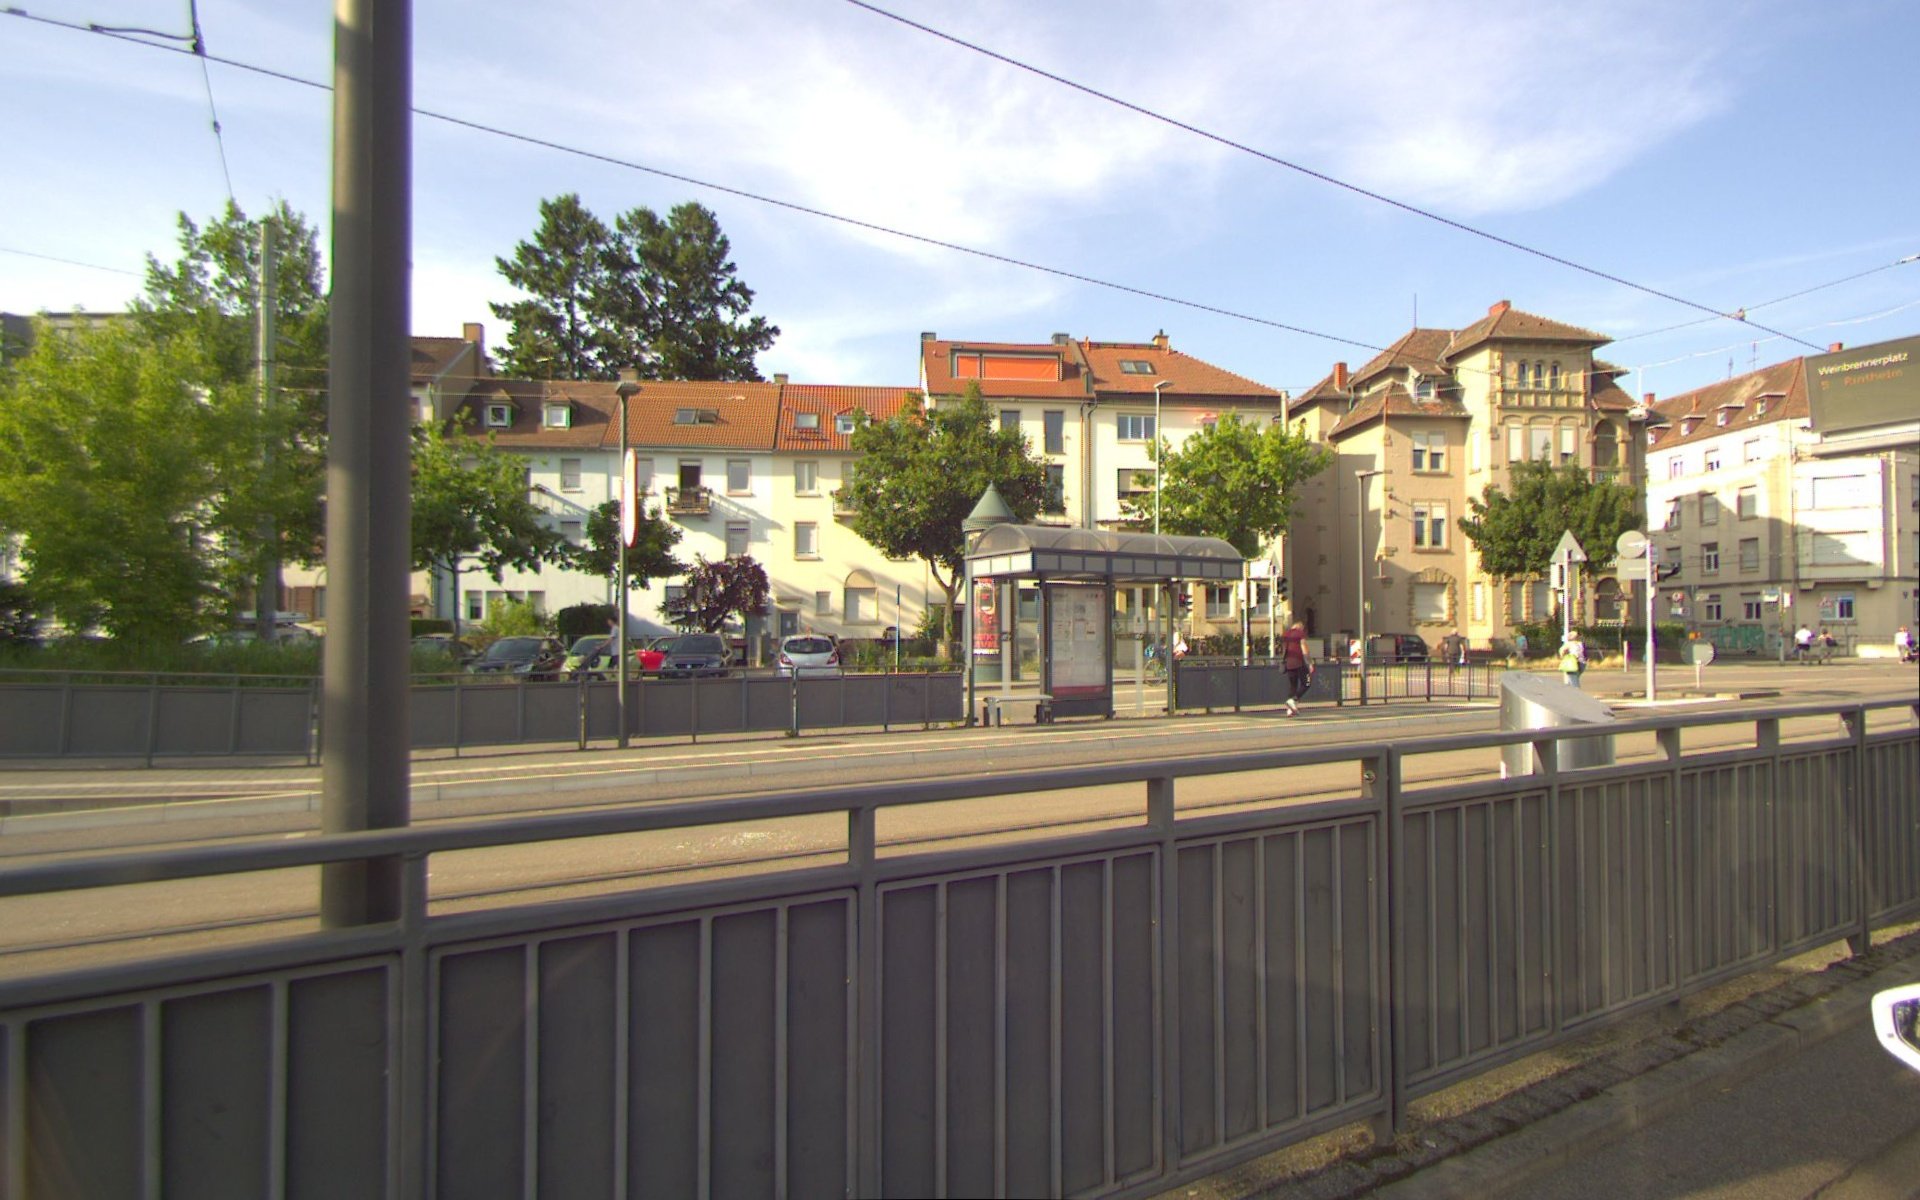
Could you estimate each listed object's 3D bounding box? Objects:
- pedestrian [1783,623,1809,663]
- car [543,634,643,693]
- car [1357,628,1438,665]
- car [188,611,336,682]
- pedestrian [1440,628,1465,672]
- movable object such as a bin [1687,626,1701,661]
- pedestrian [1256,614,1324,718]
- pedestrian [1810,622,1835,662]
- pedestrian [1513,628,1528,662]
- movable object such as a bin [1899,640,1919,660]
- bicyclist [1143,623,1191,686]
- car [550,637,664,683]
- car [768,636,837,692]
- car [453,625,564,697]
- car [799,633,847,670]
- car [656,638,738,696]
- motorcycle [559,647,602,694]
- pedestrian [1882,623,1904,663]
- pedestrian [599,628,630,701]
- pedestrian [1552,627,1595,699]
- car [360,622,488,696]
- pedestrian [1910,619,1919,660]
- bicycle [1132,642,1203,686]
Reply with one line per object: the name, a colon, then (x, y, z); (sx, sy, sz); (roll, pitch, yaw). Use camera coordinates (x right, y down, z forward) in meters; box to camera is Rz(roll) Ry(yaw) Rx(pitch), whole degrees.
pedestrian: (40.111, 2.039, 48.195); (0.616, 1.905, 0.659); (0, -2, -15)
car: (-9.730, 1.644, 26.937); (1.740, 1.447, 3.995); (0, -2, -9)
car: (20.437, 2.145, 47.109); (1.742, 1.653, 3.998); (0, -2, -5)
car: (-18.963, 1.253, 27.528); (1.822, 1.777, 3.993); (0, -2, -11)
pedestrian: (19.036, 1.920, 38.850); (0.592, 1.673, 0.681); (0, -1, -3)
movable object such as a bin: (36.876, 2.174, 50.470); (0.259, 1.732, 2.379); (-1, -2, 29)
pedestrian: (5.541, 1.092, 16.867); (0.874, 1.692, 0.666); (1, -2, -33)
pedestrian: (40.508, 1.981, 47.180); (0.642, 1.872, 0.670); (1, -2, -32)
pedestrian: (24.955, 2.005, 44.740); (0.382, 1.535, 0.405); (0, -2, -3)
movable object such as a bin: (46.449, 2.436, 49.161); (0.655, 0.959, 0.580); (1, -2, -31)
bicyclist: (5.598, 1.448, 27.193); (1.059, 1.646, 0.701); (0, 1, -30)
car: (-12.184, 2.064, 34.864); (3.444, 1.544, 1.567); (0, -2, -7)
car: (-4.372, 1.728, 27.973); (1.740, 1.447, 3.995); (0, -2, -9)
car: (-11.973, 1.584, 26.909); (1.822, 1.777, 3.993); (0, -2, -11)
car: (-6.006, 2.250, 44.365); (1.821, 1.578, 3.998); (0, -2, -4)
car: (-7.068, 1.762, 27.344); (1.740, 1.447, 3.995); (0, -2, -9)
motorcycle: (-8.843, 1.629, 23.434); (0.907, 1.065, 0.499); (0, -2, -19)
pedestrian: (45.413, 2.093, 48.895); (0.619, 1.905, 0.581); (1, -2, -31)
pedestrian: (-8.134, 1.509, 23.649); (0.661, 1.677, 0.370); (0, -2, -19)
pedestrian: (14.017, 1.435, 22.942); (0.708, 1.610, 0.586); (1, -2, -34)
car: (-13.886, 1.502, 26.290); (1.822, 1.777, 3.993); (0, -2, -11)
pedestrian: (46.161, 1.888, 48.258); (0.620, 1.906, 0.581); (-4, 0, -32)
bicycle: (5.629, 1.717, 27.208); (1.842, 1.125, 0.722); (1, 1, -30)
